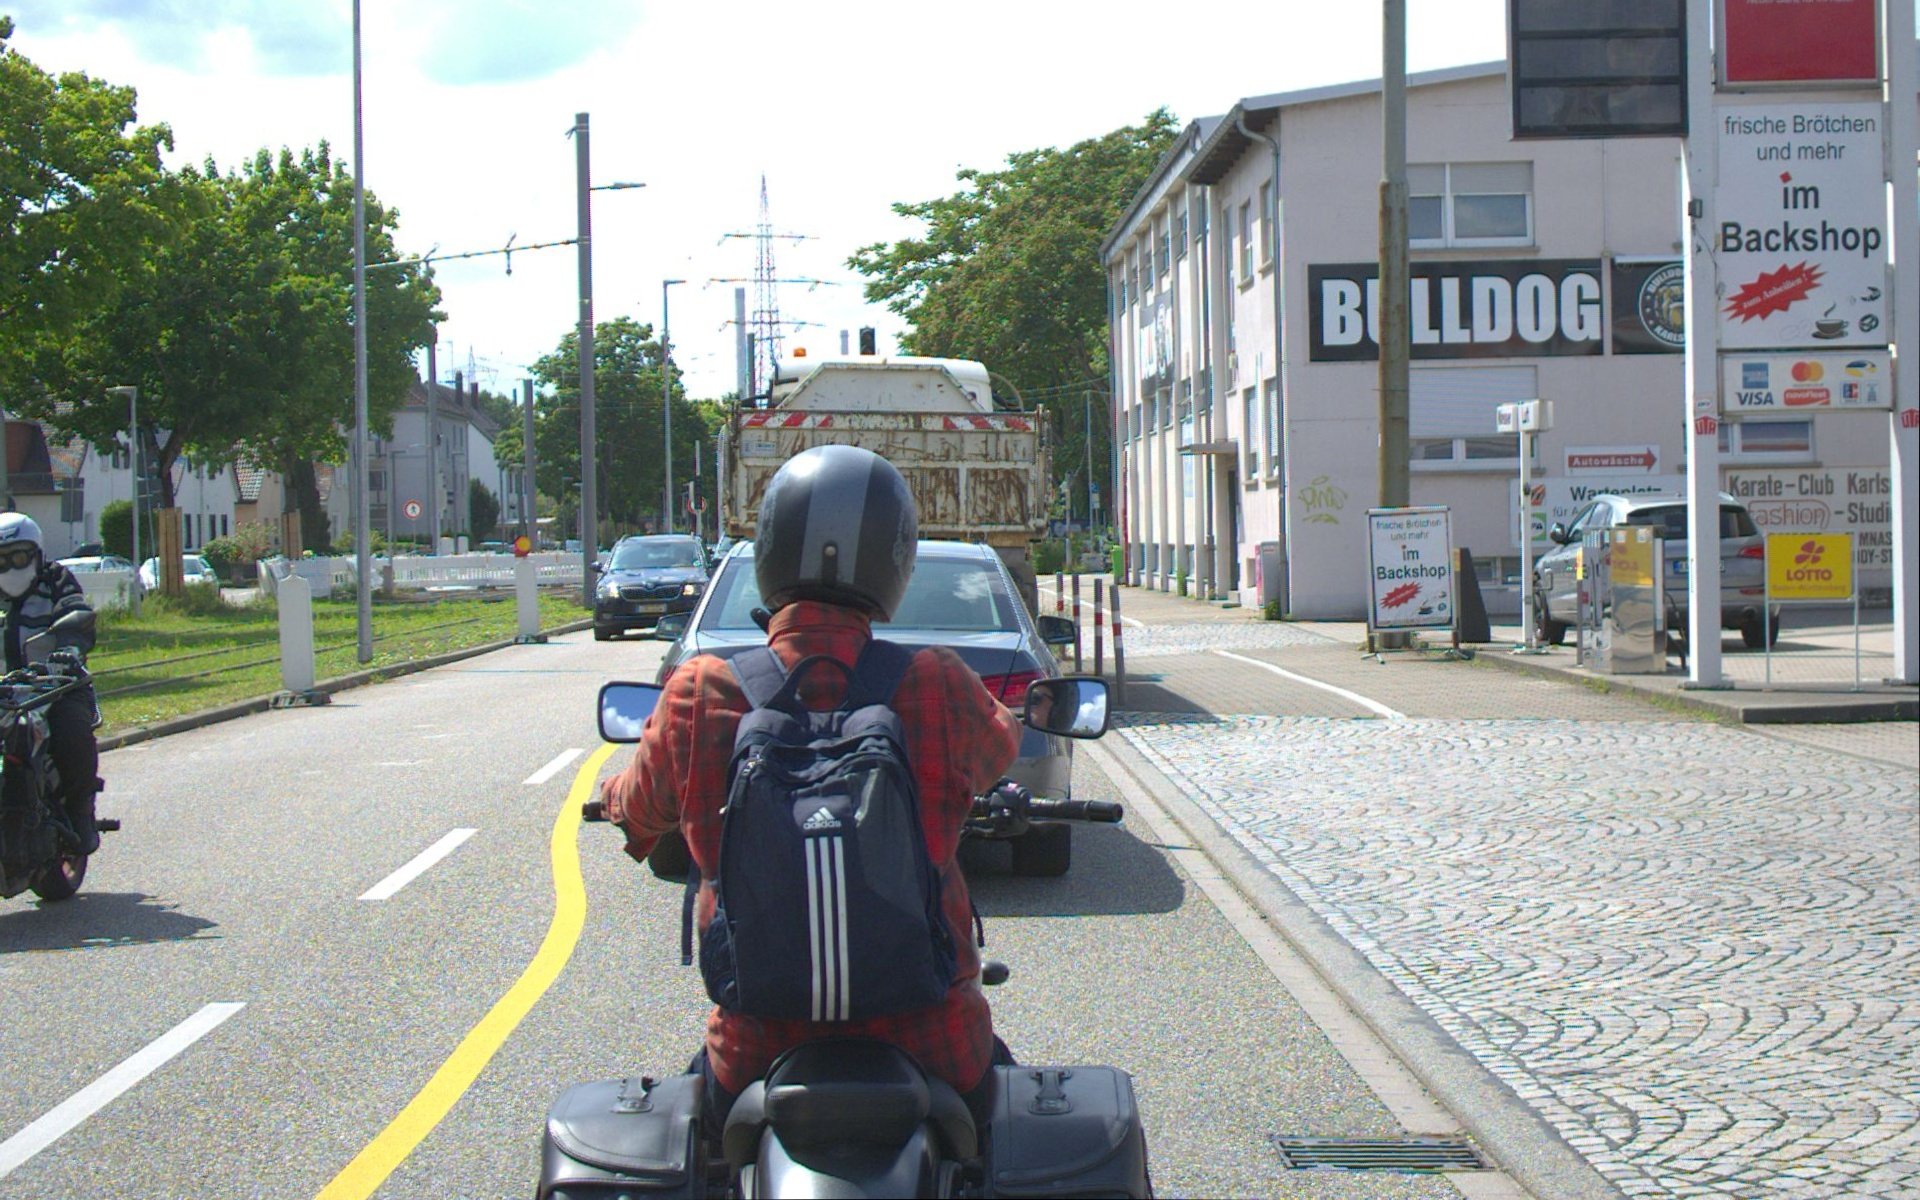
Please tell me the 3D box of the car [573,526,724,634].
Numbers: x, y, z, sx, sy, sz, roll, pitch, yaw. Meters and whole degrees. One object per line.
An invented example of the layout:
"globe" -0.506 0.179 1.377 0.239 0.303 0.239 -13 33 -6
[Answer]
"car" -4.531 -0.328 50.575 1.823 1.447 4.324 -2 1 -1

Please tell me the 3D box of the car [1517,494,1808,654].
"car" 7.379 -0.305 36.526 1.667 1.557 4.245 -1 1 -8

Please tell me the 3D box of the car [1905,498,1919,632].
"car" 11.734 -0.380 37.095 1.806 1.498 3.834 -1 1 -3

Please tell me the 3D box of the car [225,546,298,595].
"car" -25.421 -1.092 125.245 1.776 1.717 4.128 -1 1 0

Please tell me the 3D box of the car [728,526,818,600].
"car" -4.266 -0.872 79.087 1.823 1.596 4.324 -2 1 -1

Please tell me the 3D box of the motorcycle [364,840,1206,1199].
"motorcycle" -0.211 0.953 5.343 0.979 0.894 2.653 -1 1 -1

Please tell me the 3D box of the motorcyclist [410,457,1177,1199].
"motorcyclist" -0.215 0.611 5.032 0.979 1.597 1.088 -1 1 -1

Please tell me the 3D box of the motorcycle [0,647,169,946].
"motorcycle" -3.814 0.747 13.769 0.868 1.017 2.245 -1 1 -3

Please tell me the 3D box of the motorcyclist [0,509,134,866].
"motorcyclist" -3.819 0.336 13.695 0.868 1.373 0.800 -1 1 -3

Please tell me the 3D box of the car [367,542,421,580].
"car" -26.440 -1.842 160.664 1.776 1.717 4.250 -1 1 0

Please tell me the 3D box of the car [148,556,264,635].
"car" -17.498 -0.127 79.964 1.776 1.717 4.128 -1 1 0

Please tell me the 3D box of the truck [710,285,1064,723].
"truck" -0.600 -0.825 30.284 2.638 3.285 8.057 -1 1 -1

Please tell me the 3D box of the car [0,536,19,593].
"car" -30.047 -1.056 104.409 1.776 1.717 4.128 -1 1 0

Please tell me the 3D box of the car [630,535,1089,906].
"car" -0.427 0.448 15.820 1.823 1.447 4.000 1 1 -1
